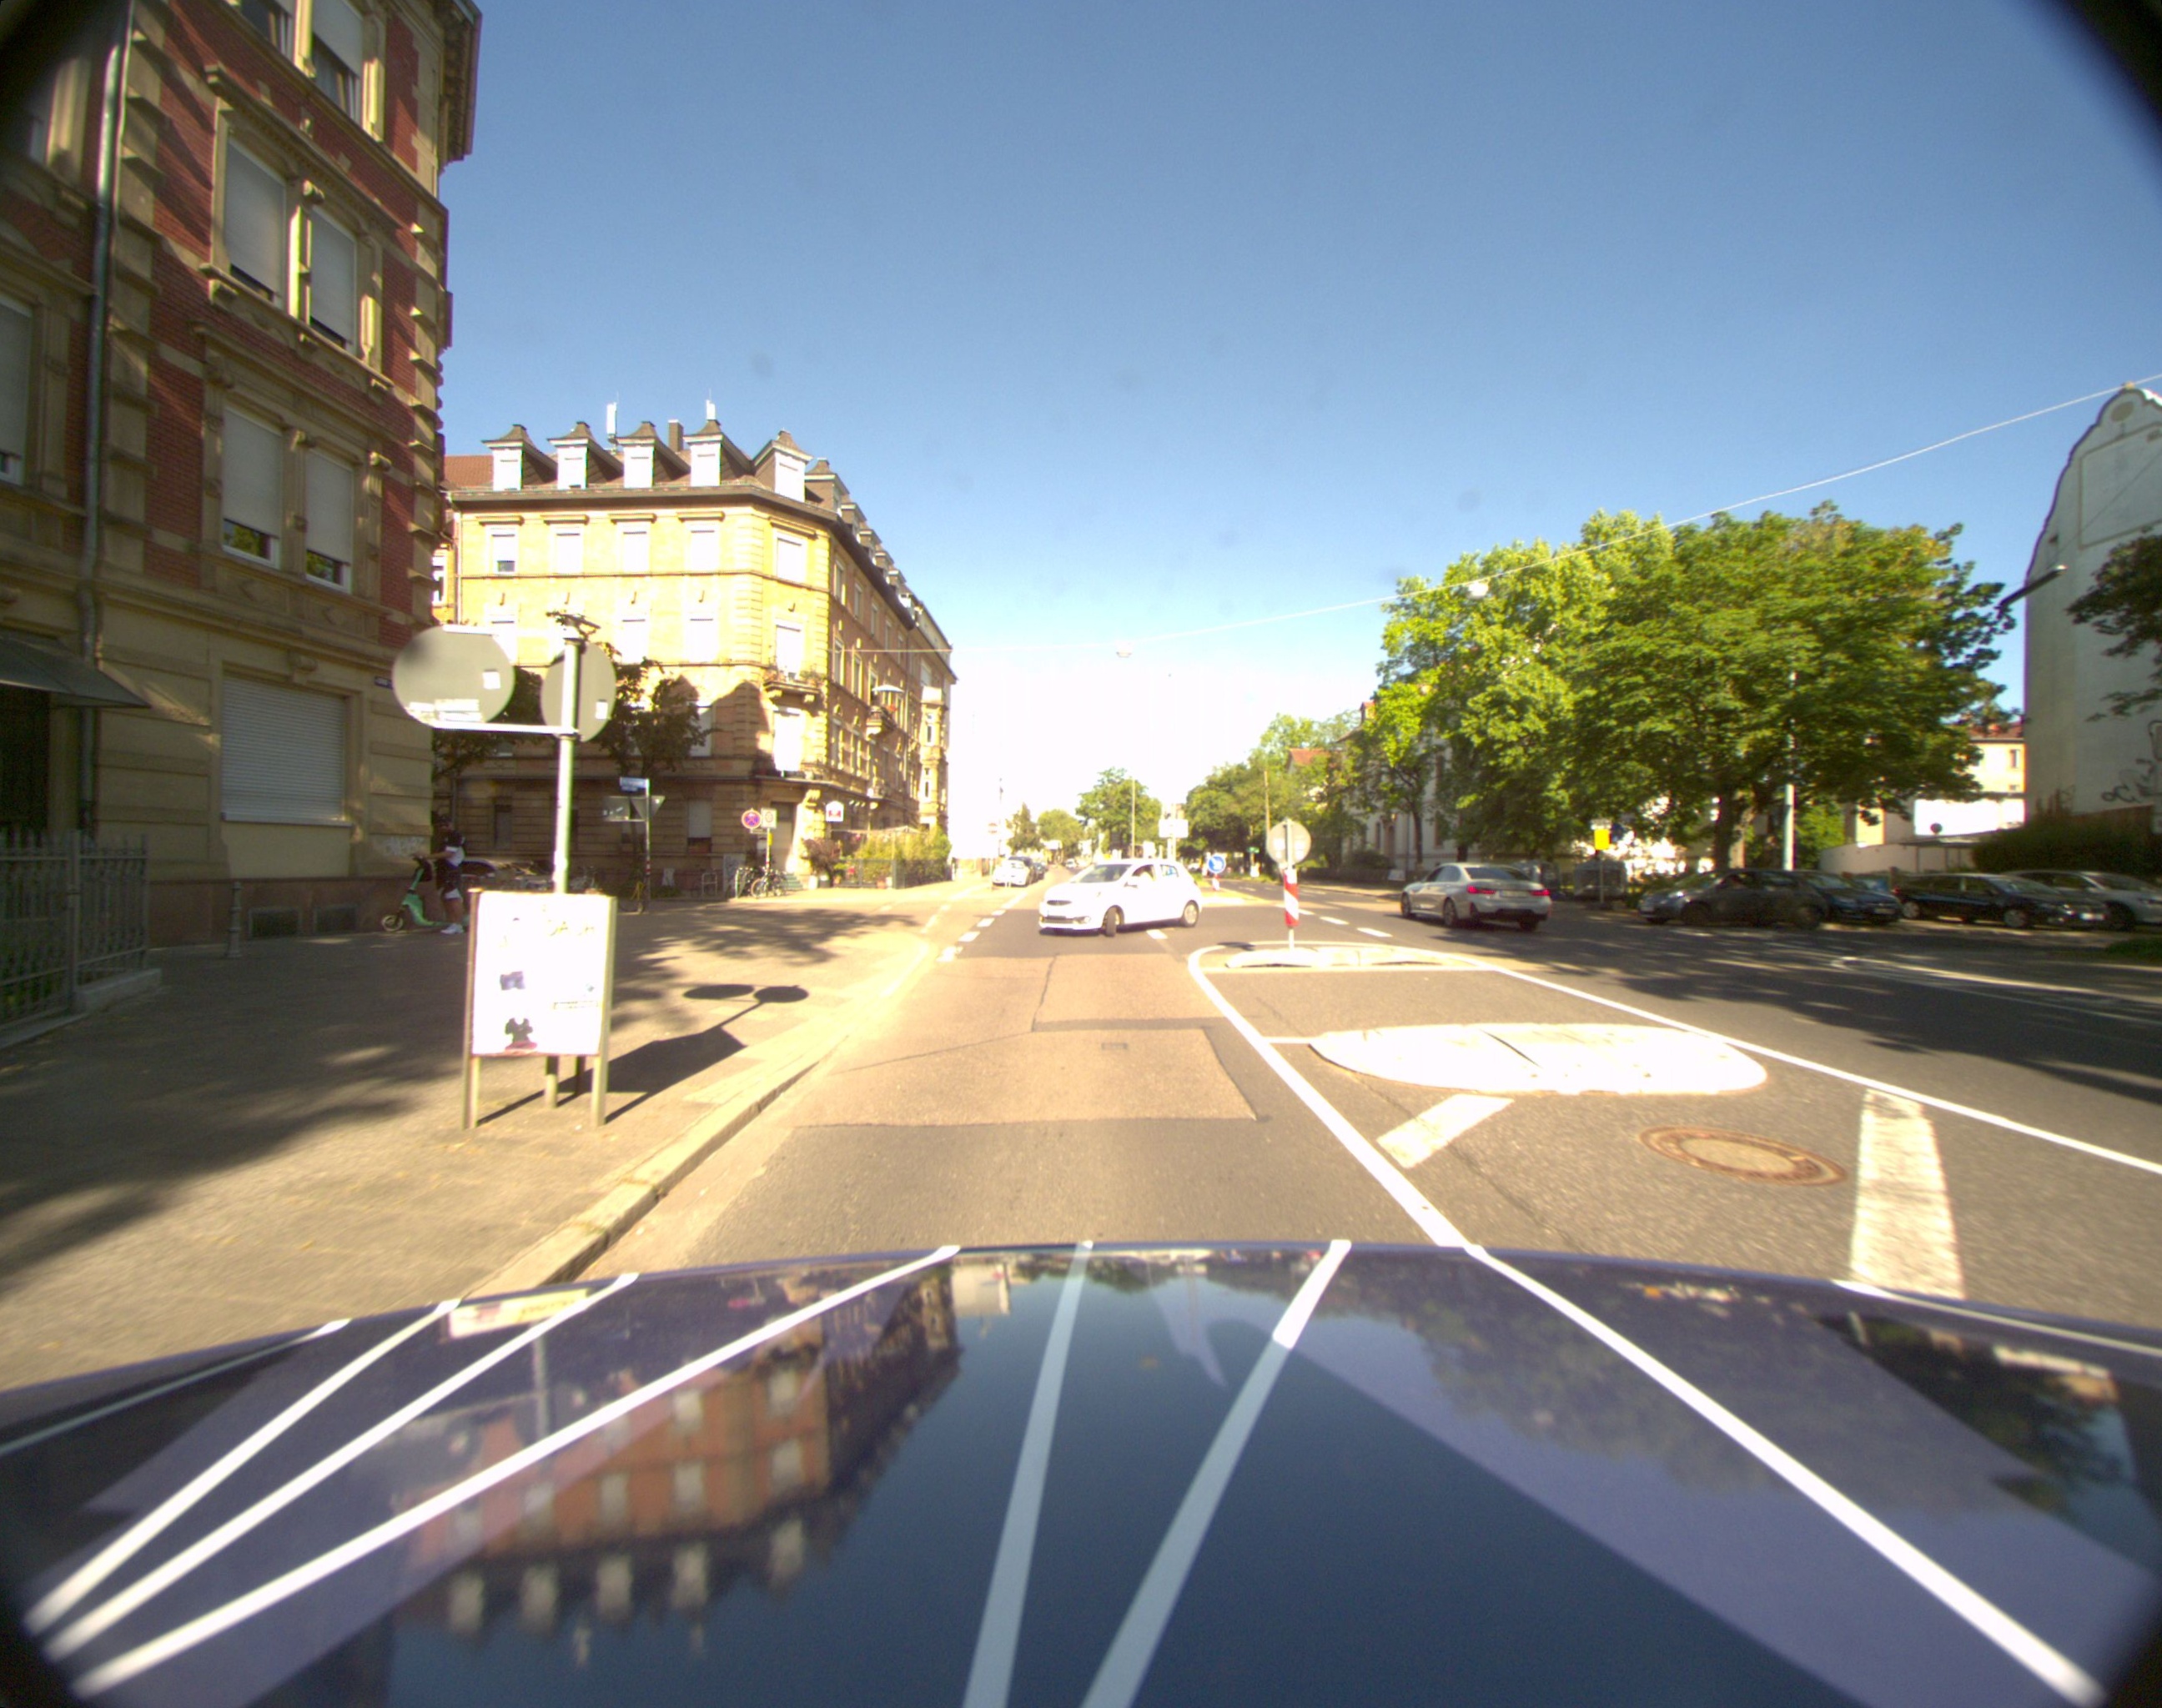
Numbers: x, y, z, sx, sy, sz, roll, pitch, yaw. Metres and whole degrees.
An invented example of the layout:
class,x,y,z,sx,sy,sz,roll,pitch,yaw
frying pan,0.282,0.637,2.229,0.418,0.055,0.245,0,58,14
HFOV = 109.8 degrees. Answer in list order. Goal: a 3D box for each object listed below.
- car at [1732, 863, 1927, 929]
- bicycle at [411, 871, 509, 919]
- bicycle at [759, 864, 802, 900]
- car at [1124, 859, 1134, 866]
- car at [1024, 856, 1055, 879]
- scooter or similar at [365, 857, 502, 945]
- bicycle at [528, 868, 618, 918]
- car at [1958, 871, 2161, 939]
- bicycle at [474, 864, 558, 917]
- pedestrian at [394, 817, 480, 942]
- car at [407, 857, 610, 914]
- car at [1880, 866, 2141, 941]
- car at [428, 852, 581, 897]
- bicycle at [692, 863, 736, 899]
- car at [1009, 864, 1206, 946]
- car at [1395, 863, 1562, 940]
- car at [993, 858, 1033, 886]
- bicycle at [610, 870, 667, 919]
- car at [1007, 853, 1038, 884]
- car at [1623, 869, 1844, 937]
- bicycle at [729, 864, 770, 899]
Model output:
class,x,y,z,sx,sy,sz,roll,pitch,yaw
car,21.775,1.137,22.426,1.891,1.678,4.705,2,0,13
bicycle,-15.035,0.953,18.471,0.584,1.049,2.020,1,0,6
bicycle,-10.544,0.968,26.711,0.735,1.128,2.018,1,2,-1
car,9.554,1.676,151.070,1.594,1.420,3.716,2,1,0
car,-3.104,0.995,57.528,1.893,1.678,4.700,0,0,2
scooter or similar,-10.095,0.699,11.895,0.759,1.256,1.412,3,1,20
bicycle,-12.230,0.914,18.383,0.584,1.127,2.021,1,-1,9
car,28.791,1.390,21.887,1.892,1.678,4.702,2,0,7
bicycle,-13.574,0.872,18.321,0.634,1.178,2.019,1,-2,-6
pedestrian,-10.046,0.406,11.884,0.767,1.880,0.693,1,-3,-20
car,-16.451,0.862,21.991,4.416,1.409,2.048,2,0,5
car,26.240,1.307,21.789,1.892,1.679,4.700,1,1,5
car,-20.502,0.707,27.133,3.933,1.409,2.048,2,0,5
bicycle,-12.953,0.946,26.885,0.584,1.128,2.018,2,2,-1
car,0.620,0.935,15.532,3.905,1.449,1.649,0,0,-40
car,8.921,0.980,17.578,1.808,1.485,4.715,1,0,6
car,-3.740,0.959,42.450,1.846,1.432,4.106,1,0,0
bicycle,-10.750,0.953,18.428,2.013,1.127,0.586,-1,-3,42
car,-3.699,0.880,48.731,1.693,1.862,3.561,2,0,0
car,16.276,1.182,19.152,3.775,1.482,1.846,2,0,10
bicycle,-11.663,0.955,26.785,0.585,1.128,2.018,2,1,-2
